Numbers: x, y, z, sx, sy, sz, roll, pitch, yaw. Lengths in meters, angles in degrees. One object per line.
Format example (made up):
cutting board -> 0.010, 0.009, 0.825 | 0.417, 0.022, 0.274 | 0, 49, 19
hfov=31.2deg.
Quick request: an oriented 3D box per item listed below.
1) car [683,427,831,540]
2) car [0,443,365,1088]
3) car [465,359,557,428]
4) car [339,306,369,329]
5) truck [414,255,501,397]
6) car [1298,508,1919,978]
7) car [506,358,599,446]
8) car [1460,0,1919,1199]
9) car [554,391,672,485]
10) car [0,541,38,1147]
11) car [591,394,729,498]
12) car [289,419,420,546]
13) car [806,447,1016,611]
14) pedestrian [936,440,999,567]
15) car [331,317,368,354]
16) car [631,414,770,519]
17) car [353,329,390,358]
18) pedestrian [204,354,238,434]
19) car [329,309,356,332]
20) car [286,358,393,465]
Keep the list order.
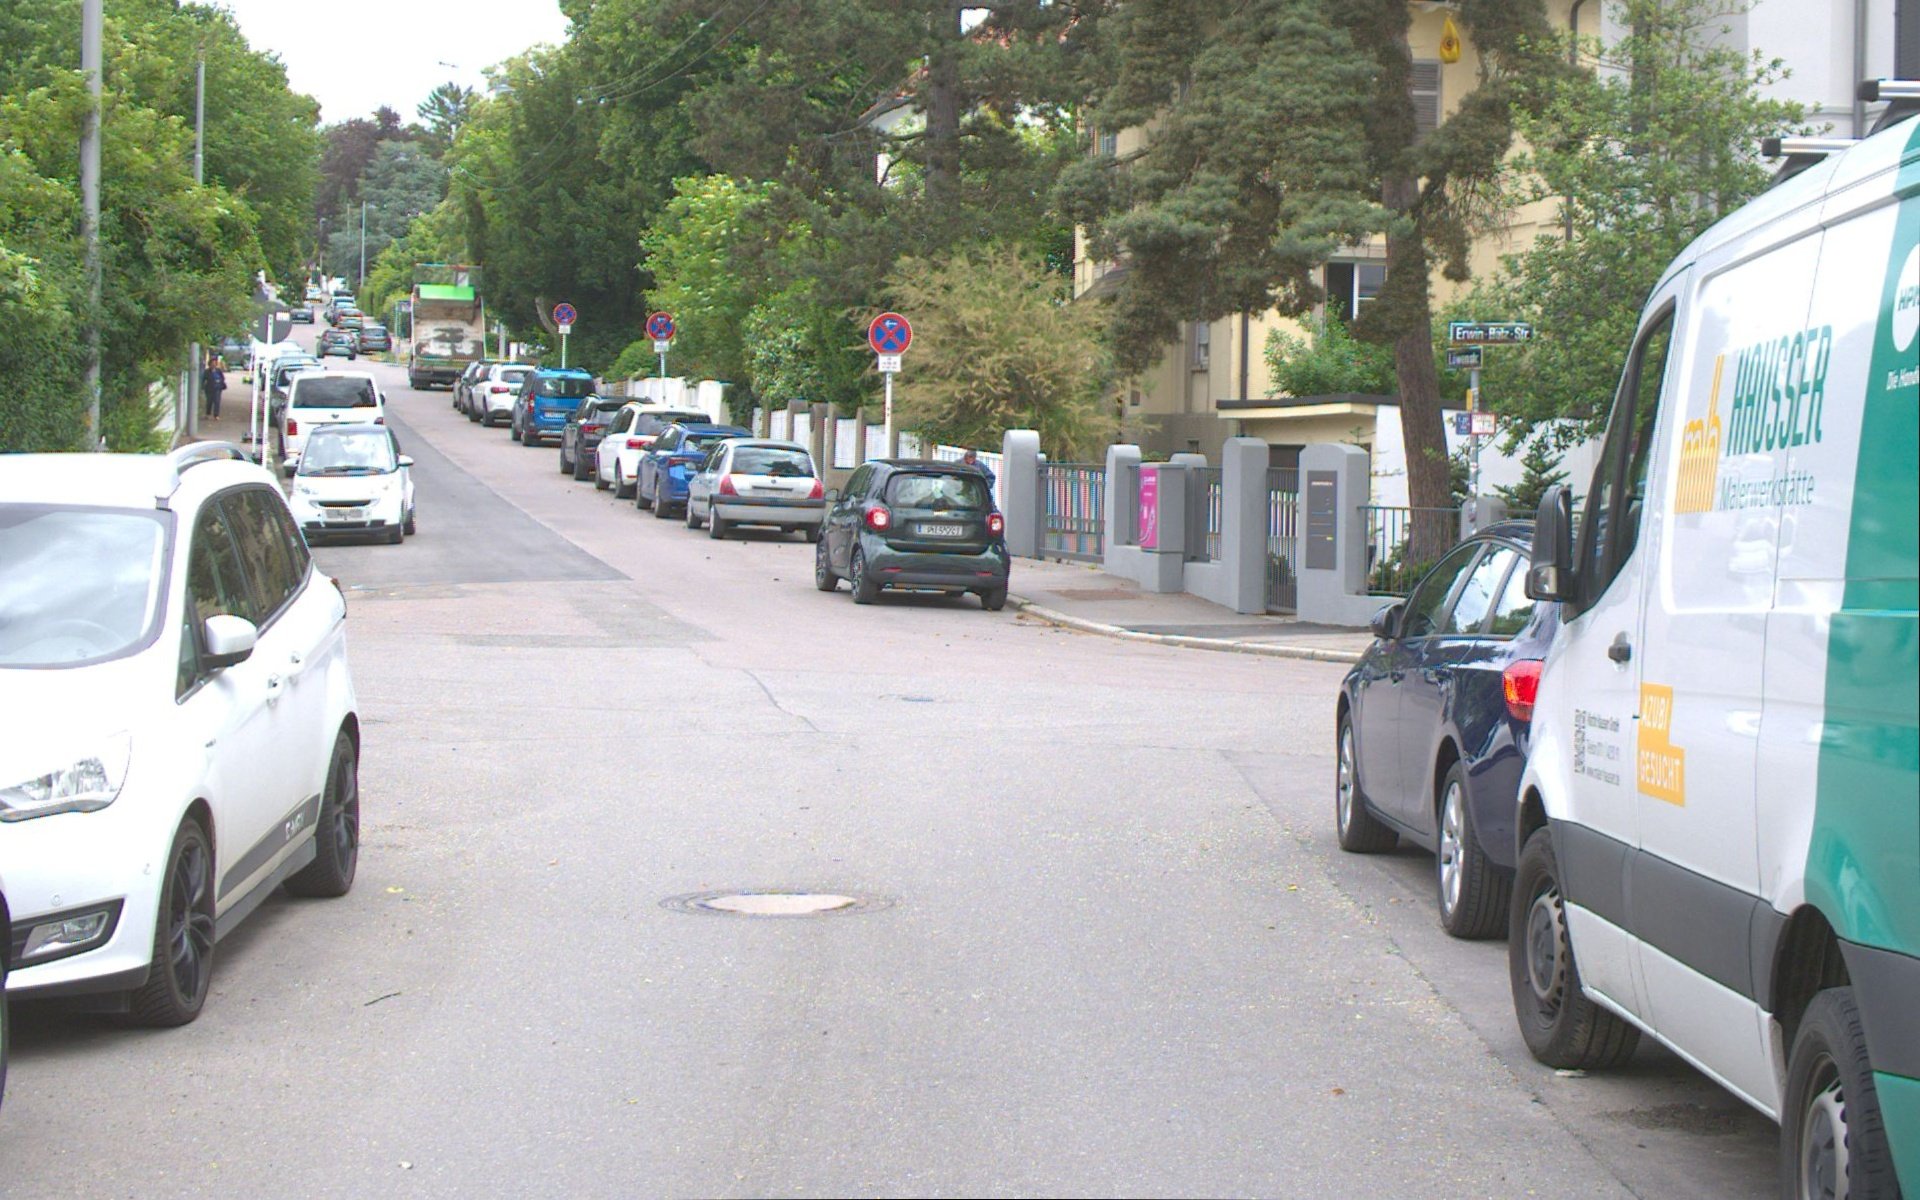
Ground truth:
car -> -2.962, -1.706, 49.551 | 1.573, 1.395, 3.657 | 2, 4, -11
car -> -3.147, 0.342, 11.055 | 1.804, 1.653, 4.152 | 0, 3, -1
car -> -11.922, -5.488, 91.047 | 1.757, 1.600, 4.578 | 2, 5, -15
car -> -40.844, -19.024, 231.694 | 1.809, 1.331, 3.634 | 2, 6, -13
truck -> -17.743, -9.682, 121.180 | 2.523, 4.731, 7.191 | 2, 4, -11
car -> 2.558, 0.429, 13.678 | 1.818, 1.480, 4.287 | 1, 2, -2
car -> -9.586, -4.658, 80.587 | 1.682, 1.822, 4.159 | 3, 5, -13
car -> 2.528, 0.146, 7.893 | 1.993, 2.414, 5.293 | 1, 1, 0
car -> -6.713, -3.144, 66.177 | 1.749, 1.602, 4.078 | 3, 4, -12
car -> -3.104, 0.650, 6.763 | 1.607, 1.448, 3.614 | -1, 2, -1
car -> -5.339, -2.749, 60.701 | 1.784, 1.597, 4.307 | 2, 4, -13
car -> -8.165, -1.615, 46.539 | 1.442, 1.546, 2.771 | -2, 5, -5
car -> -0.572, -0.799, 37.510 | 1.571, 1.526, 2.869 | 3, 4, -14
pedestrian -> 0.095, -1.233, 43.626 | 0.681, 1.571, 0.907 | -1, 3, -6
car -> -30.367, -13.164, 170.988 | 1.633, 1.695, 3.496 | 1, 5, -12
car -> -4.149, -2.142, 54.479 | 1.647, 1.453, 4.054 | 2, 4, -12
car -> -32.424, -14.135, 189.212 | 1.778, 1.483, 4.002 | 1, 5, -13
pedestrian -> -19.106, -5.329, 88.902 | 0.811, 2.006, 0.860 | 1, 5, -11
car -> -43.185, -19.536, 240.308 | 1.789, 1.524, 3.736 | 1, 5, -10
car -> -11.851, -3.628, 65.507 | 1.854, 1.906, 4.622 | -2, 5, -11
